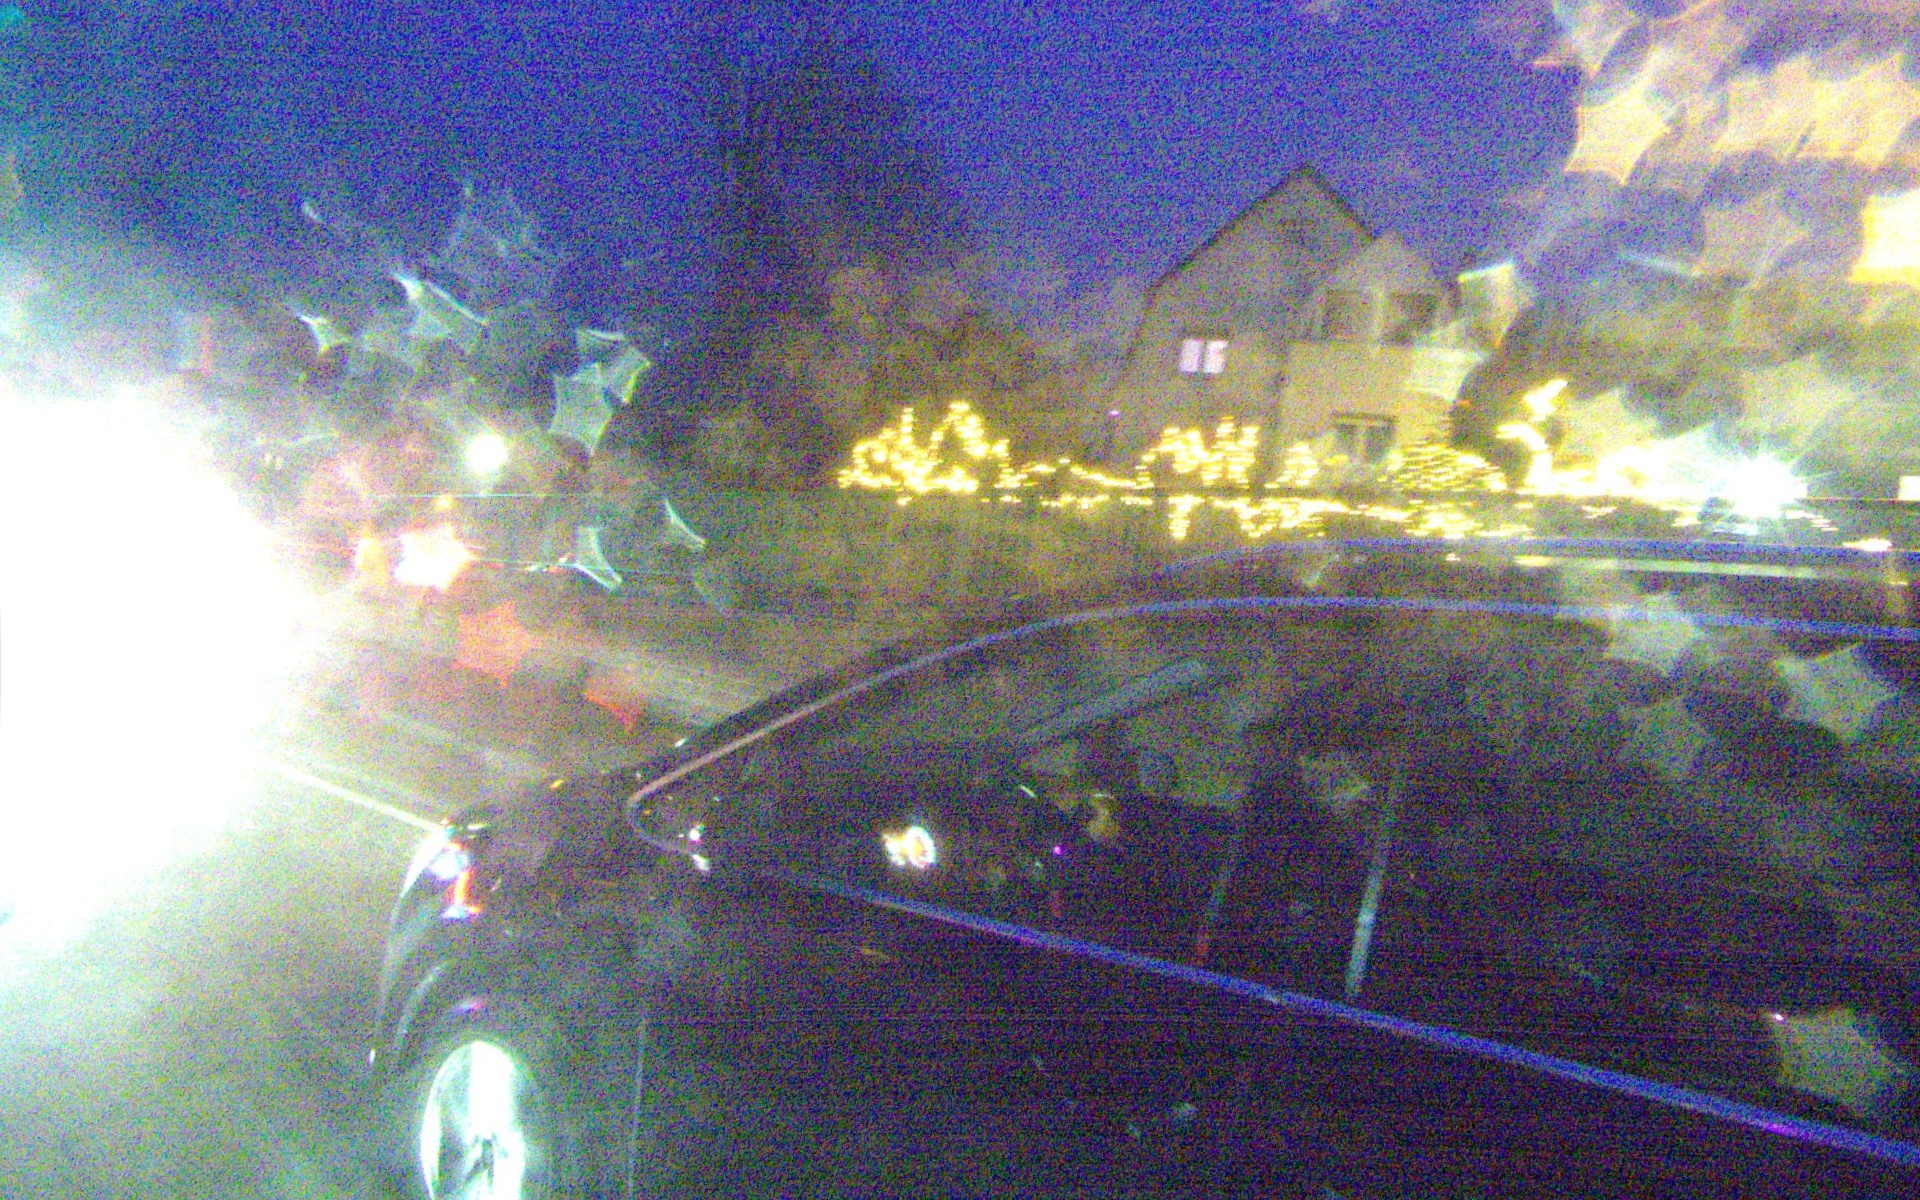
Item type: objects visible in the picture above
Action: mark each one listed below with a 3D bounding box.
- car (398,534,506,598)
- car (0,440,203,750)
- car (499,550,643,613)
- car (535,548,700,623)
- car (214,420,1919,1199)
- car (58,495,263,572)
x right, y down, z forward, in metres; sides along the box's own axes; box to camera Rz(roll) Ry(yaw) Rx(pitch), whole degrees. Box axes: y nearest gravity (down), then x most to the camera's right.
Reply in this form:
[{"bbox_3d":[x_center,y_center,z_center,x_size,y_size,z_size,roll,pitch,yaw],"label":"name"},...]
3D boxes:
[{"bbox_3d":[-14.913,-1.026,29.418,1.714,1.500,4.656,9,-3,-39],"label":"car"},{"bbox_3d":[-7.644,-0.206,7.291,4.269,1.886,1.855,6,-2,32],"label":"car"},{"bbox_3d":[-12.646,-0.592,32.754,3.964,1.446,1.829,9,-3,-34],"label":"car"},{"bbox_3d":[-9.545,-0.380,28.188,3.921,1.503,1.745,10,-3,-40],"label":"car"},{"bbox_3d":[0.764,0.755,1.996,4.860,1.755,1.838,6,-2,32],"label":"car"},{"bbox_3d":[-23.063,-1.858,29.272,4.297,1.476,1.838,9,-3,-30],"label":"car"}]
